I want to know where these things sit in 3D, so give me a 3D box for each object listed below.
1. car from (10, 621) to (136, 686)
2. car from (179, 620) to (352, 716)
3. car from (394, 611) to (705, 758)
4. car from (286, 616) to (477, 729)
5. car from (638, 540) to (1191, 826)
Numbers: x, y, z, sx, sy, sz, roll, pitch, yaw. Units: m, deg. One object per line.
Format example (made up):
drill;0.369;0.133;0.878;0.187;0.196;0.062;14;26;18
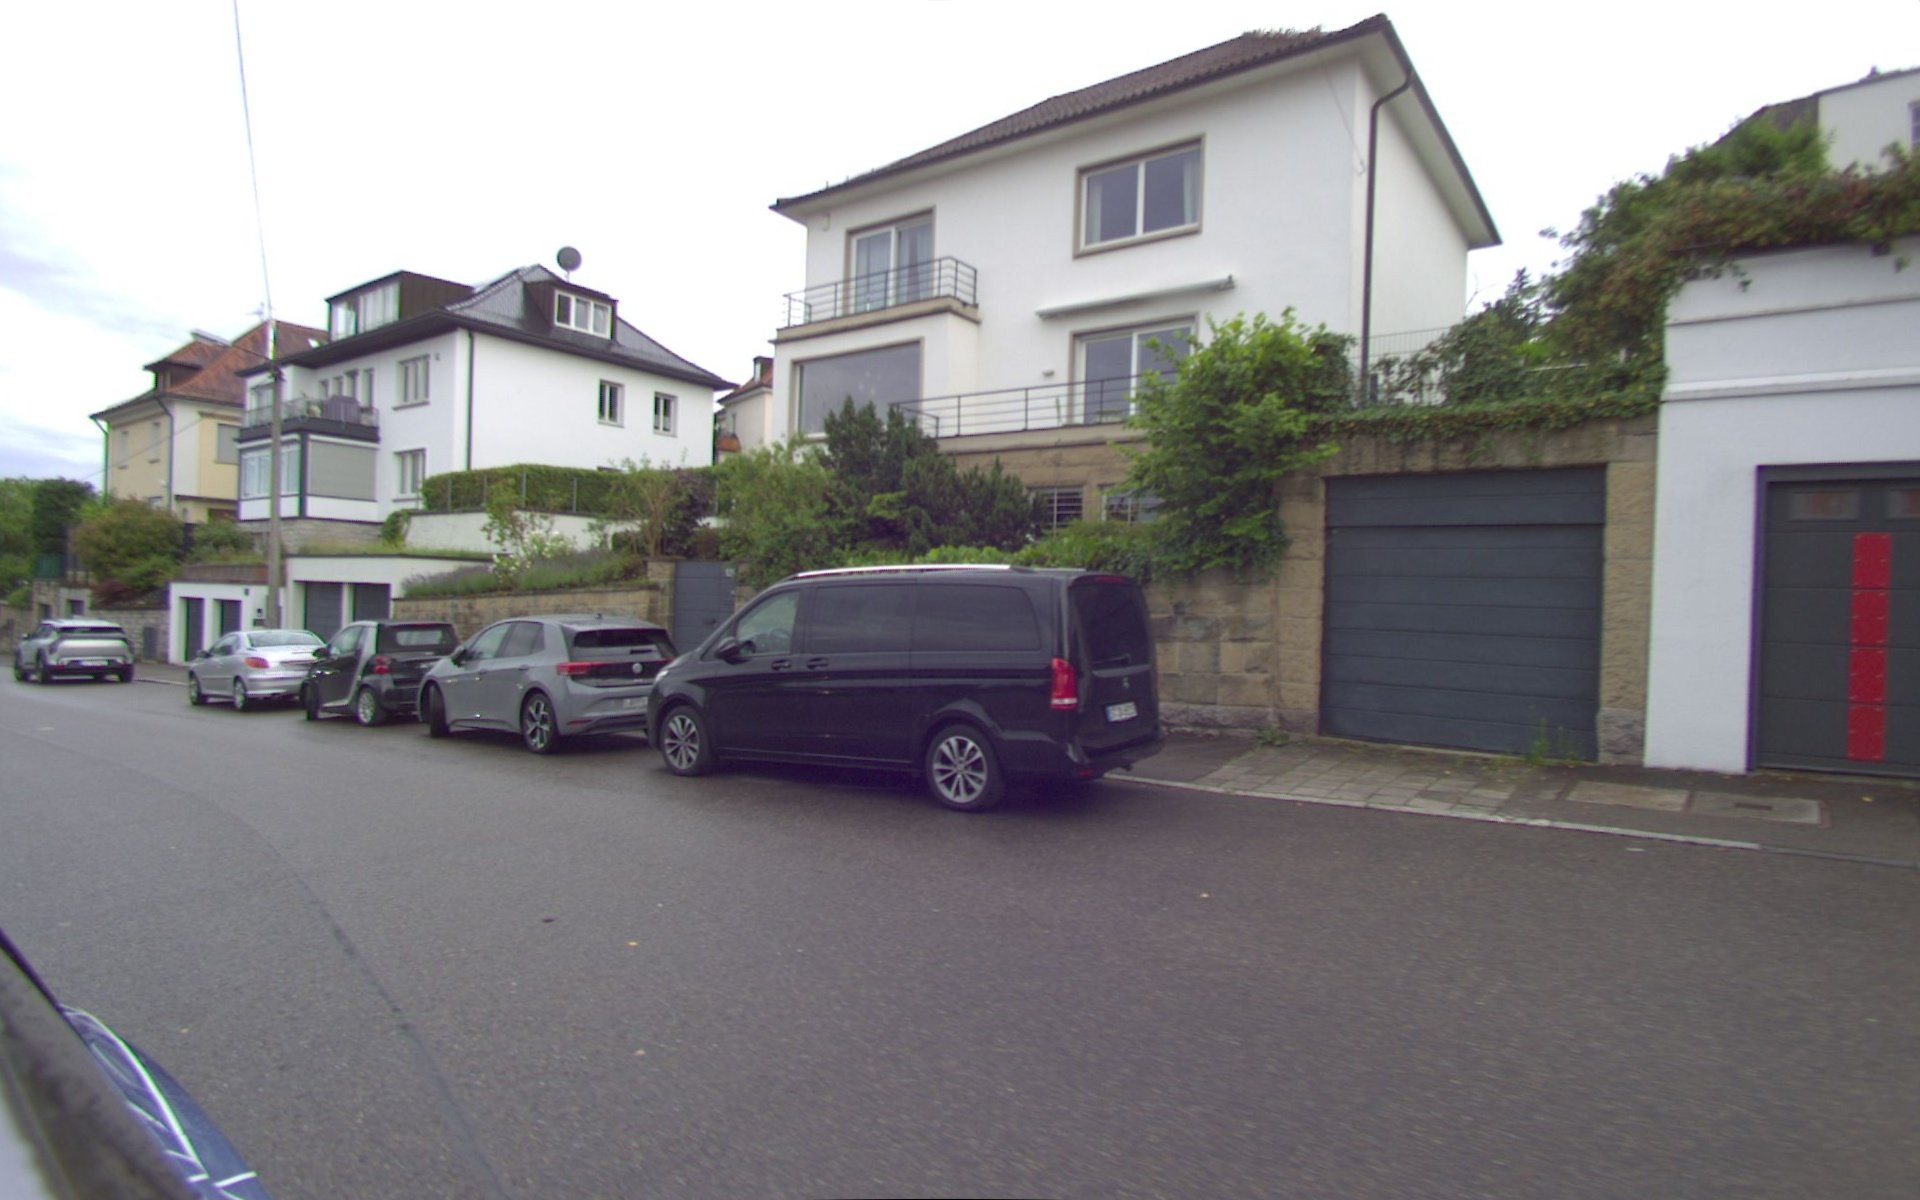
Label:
car;-22.832;1.312;25.999;3.996;1.512;1.845;-1;0;40
car;-12.529;1.152;18.203;3.432;1.502;1.575;-1;0;38
car;-5.265;0.941;12.714;4.398;1.502;1.675;-1;0;39
car;-8.868;1.041;15.464;2.889;1.502;1.504;-1;0;37
car;-0.561;0.601;9.171;4.762;1.972;1.977;-1;0;35
